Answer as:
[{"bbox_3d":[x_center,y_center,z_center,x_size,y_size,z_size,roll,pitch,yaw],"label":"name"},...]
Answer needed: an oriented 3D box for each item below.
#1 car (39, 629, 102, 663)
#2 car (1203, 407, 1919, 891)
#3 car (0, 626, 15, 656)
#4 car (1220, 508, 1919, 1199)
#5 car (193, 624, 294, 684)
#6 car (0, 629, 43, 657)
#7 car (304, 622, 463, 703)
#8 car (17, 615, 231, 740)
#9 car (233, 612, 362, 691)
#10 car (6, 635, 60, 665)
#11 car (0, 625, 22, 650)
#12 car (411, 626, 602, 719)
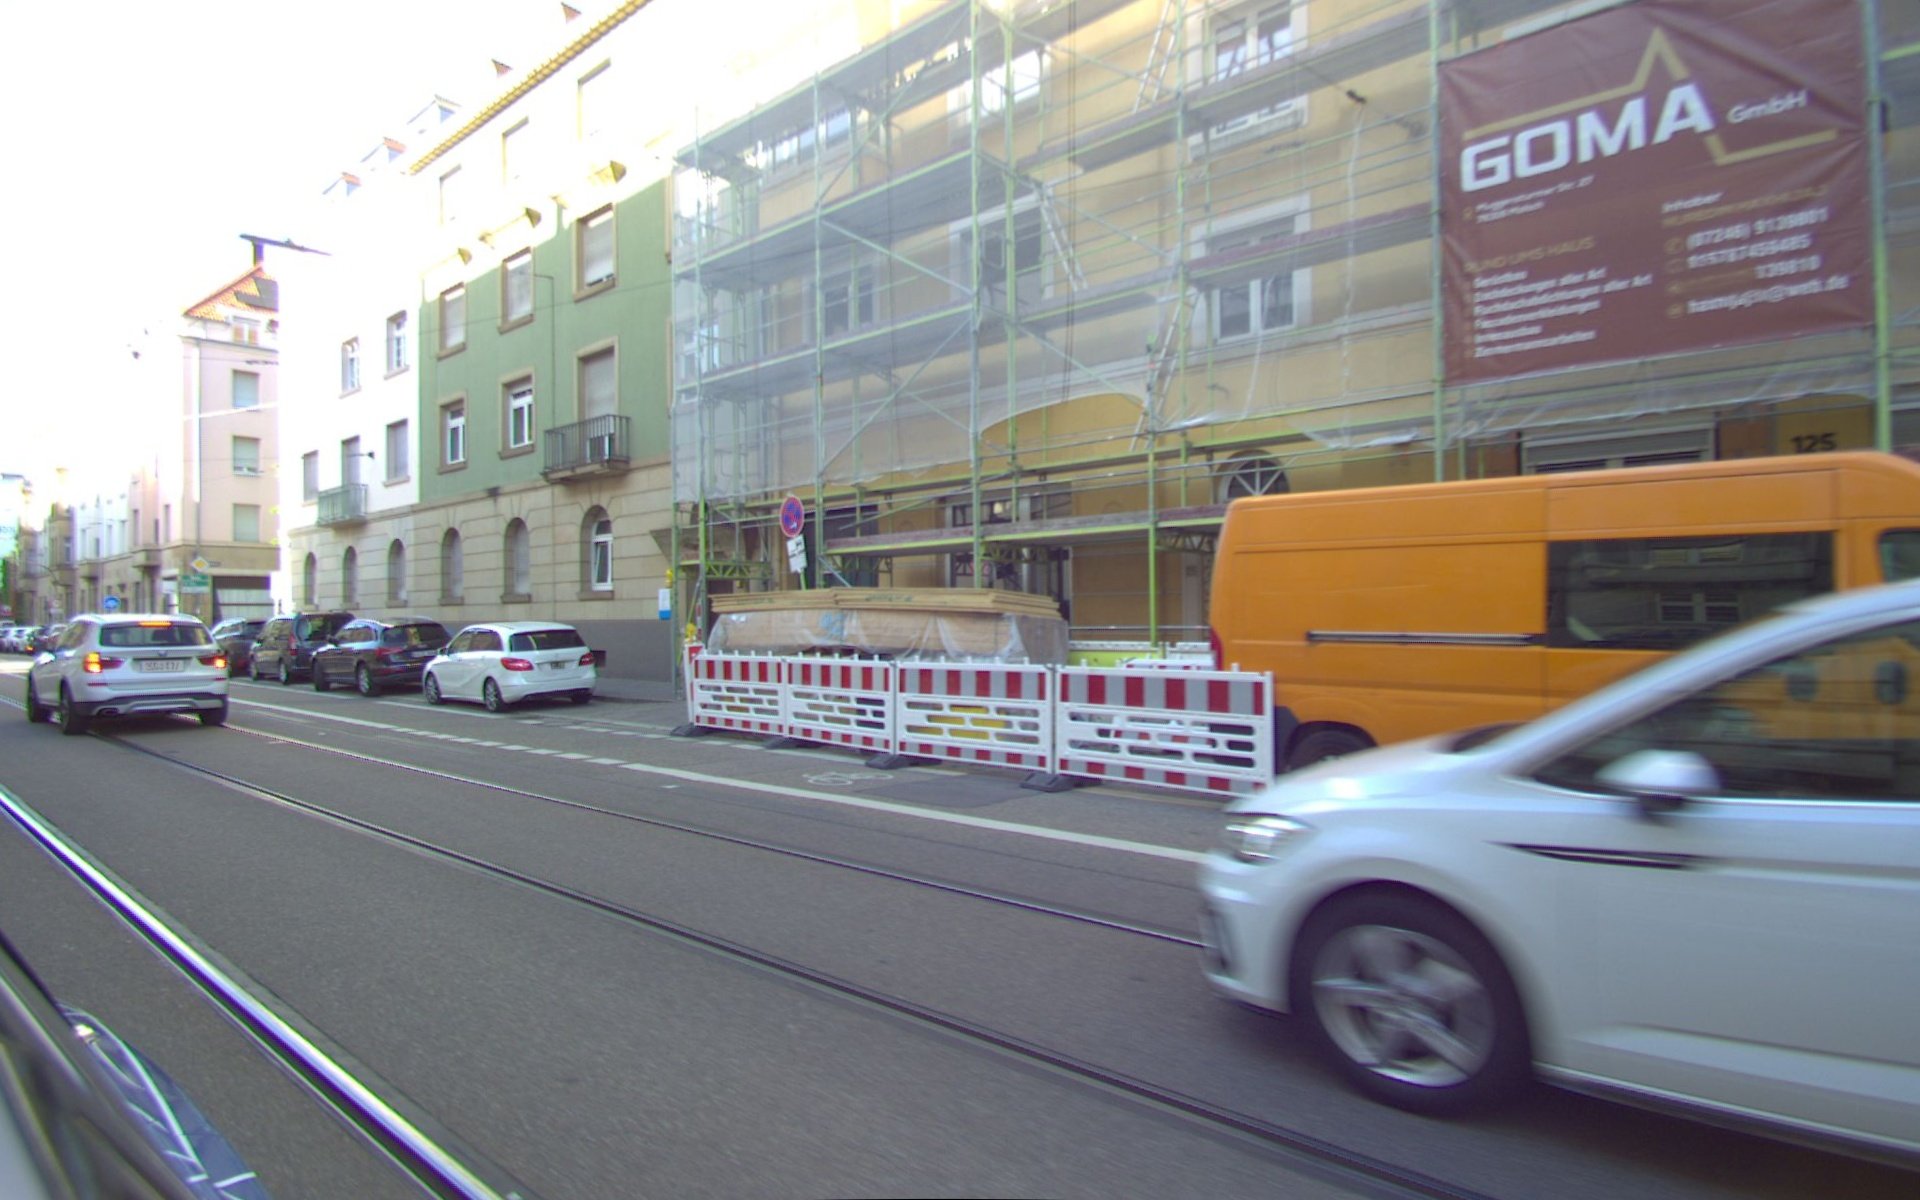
[{"bbox_3d":[-44.018,2.257,50.050,3.766,1.514,1.776,-2,0,40],"label":"car"},{"bbox_3d":[4.833,0.292,6.696,5.997,2.488,2.097,-2,-2,42],"label":"car"},{"bbox_3d":[-67.083,2.829,70.042,3.998,2.029,1.973,-2,-2,41],"label":"car"},{"bbox_3d":[3.000,0.600,2.524,4.197,1.580,1.803,-2,-2,39],"label":"car"},{"bbox_3d":[-21.152,1.544,29.825,3.770,1.622,1.774,-2,-2,44],"label":"car"},{"bbox_3d":[-55.994,2.518,60.121,3.767,1.514,1.775,-1,1,41],"label":"car"},{"bbox_3d":[-12.924,1.330,22.591,4.219,1.590,1.681,-2,0,40],"label":"car"},{"bbox_3d":[-12.648,1.076,15.226,4.290,1.619,1.749,-2,-2,40],"label":"car"},{"bbox_3d":[-17.403,1.307,26.526,3.766,1.860,1.776,-2,0,40],"label":"car"},{"bbox_3d":[-51.897,2.779,56.651,3.767,1.514,1.775,-1,1,41],"label":"car"},{"bbox_3d":[-60.014,2.336,63.130,3.767,1.514,1.775,-1,1,41],"label":"car"},{"bbox_3d":[-8.452,1.261,18.732,3.998,1.523,1.728,-2,-2,41],"label":"car"}]
